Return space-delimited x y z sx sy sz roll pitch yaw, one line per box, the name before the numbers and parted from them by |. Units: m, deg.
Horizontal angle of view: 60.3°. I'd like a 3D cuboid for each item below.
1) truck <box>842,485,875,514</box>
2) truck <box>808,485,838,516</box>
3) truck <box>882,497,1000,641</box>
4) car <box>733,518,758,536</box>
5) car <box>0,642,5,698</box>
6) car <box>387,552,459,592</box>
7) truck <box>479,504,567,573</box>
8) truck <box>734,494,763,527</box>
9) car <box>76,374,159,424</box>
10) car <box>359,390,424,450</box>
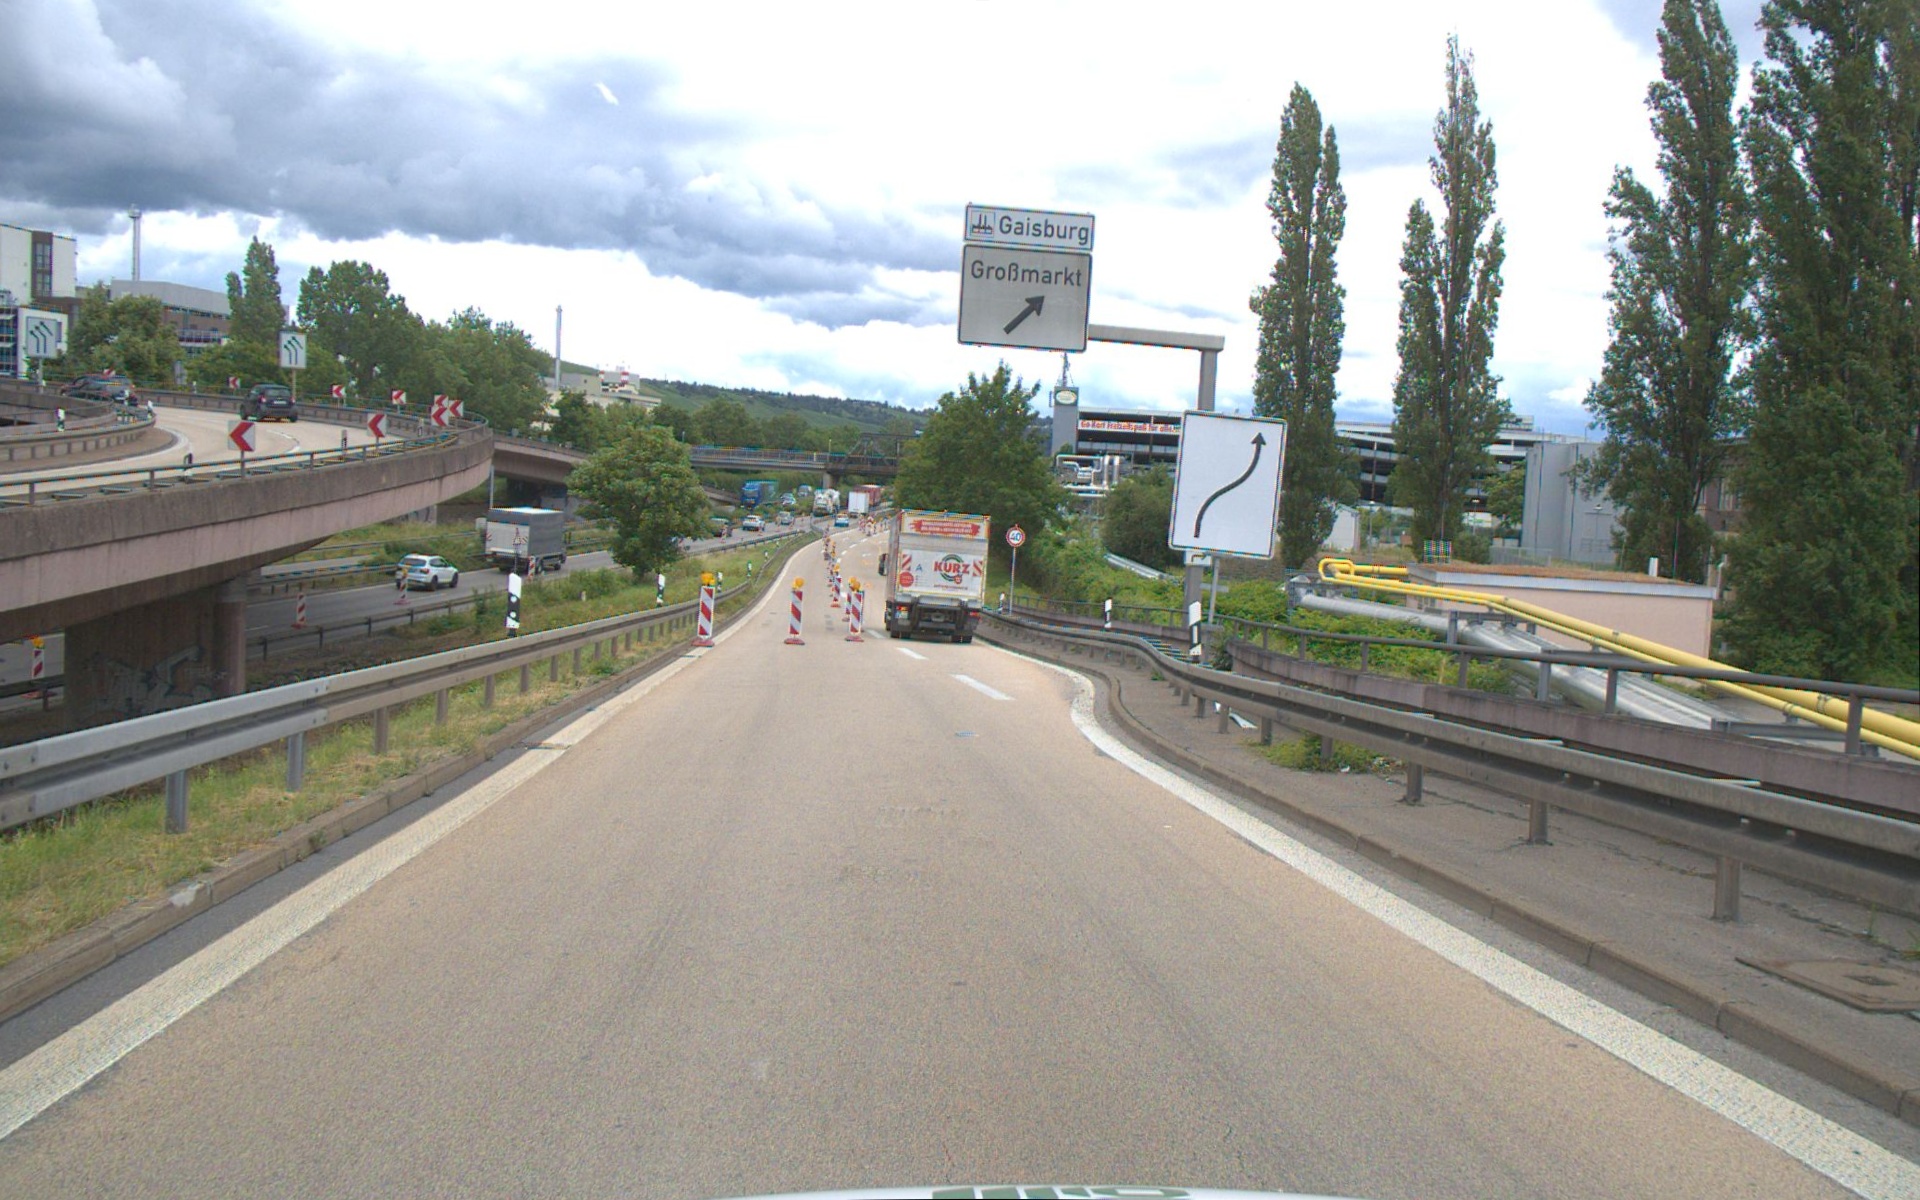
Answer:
truck | -13.905 -13.772 227.441 3.218 3.661 7.671 4 3 4
truck | -18.290 -13.285 221.380 3.220 3.917 7.667 3 3 0
truck | -0.702 -0.947 48.939 2.990 3.736 7.924 3 2 -3
car | -22.171 -7.580 170.770 1.953 1.645 4.002 4 3 0
car | -26.816 1.946 42.073 1.952 1.480 4.805 4 3 4
car | -26.795 -1.436 82.668 1.952 1.741 4.105 4 3 4
truck | -25.779 -3.707 97.855 2.988 3.718 7.399 4 3 1
truck | -28.659 -12.151 224.649 2.695 4.344 5.507 4 3 4
car | -37.123 -8.818 72.866 3.931 1.802 1.987 3 1 43
car | -21.570 -6.816 62.875 1.961 1.802 3.984 2 0 -15
